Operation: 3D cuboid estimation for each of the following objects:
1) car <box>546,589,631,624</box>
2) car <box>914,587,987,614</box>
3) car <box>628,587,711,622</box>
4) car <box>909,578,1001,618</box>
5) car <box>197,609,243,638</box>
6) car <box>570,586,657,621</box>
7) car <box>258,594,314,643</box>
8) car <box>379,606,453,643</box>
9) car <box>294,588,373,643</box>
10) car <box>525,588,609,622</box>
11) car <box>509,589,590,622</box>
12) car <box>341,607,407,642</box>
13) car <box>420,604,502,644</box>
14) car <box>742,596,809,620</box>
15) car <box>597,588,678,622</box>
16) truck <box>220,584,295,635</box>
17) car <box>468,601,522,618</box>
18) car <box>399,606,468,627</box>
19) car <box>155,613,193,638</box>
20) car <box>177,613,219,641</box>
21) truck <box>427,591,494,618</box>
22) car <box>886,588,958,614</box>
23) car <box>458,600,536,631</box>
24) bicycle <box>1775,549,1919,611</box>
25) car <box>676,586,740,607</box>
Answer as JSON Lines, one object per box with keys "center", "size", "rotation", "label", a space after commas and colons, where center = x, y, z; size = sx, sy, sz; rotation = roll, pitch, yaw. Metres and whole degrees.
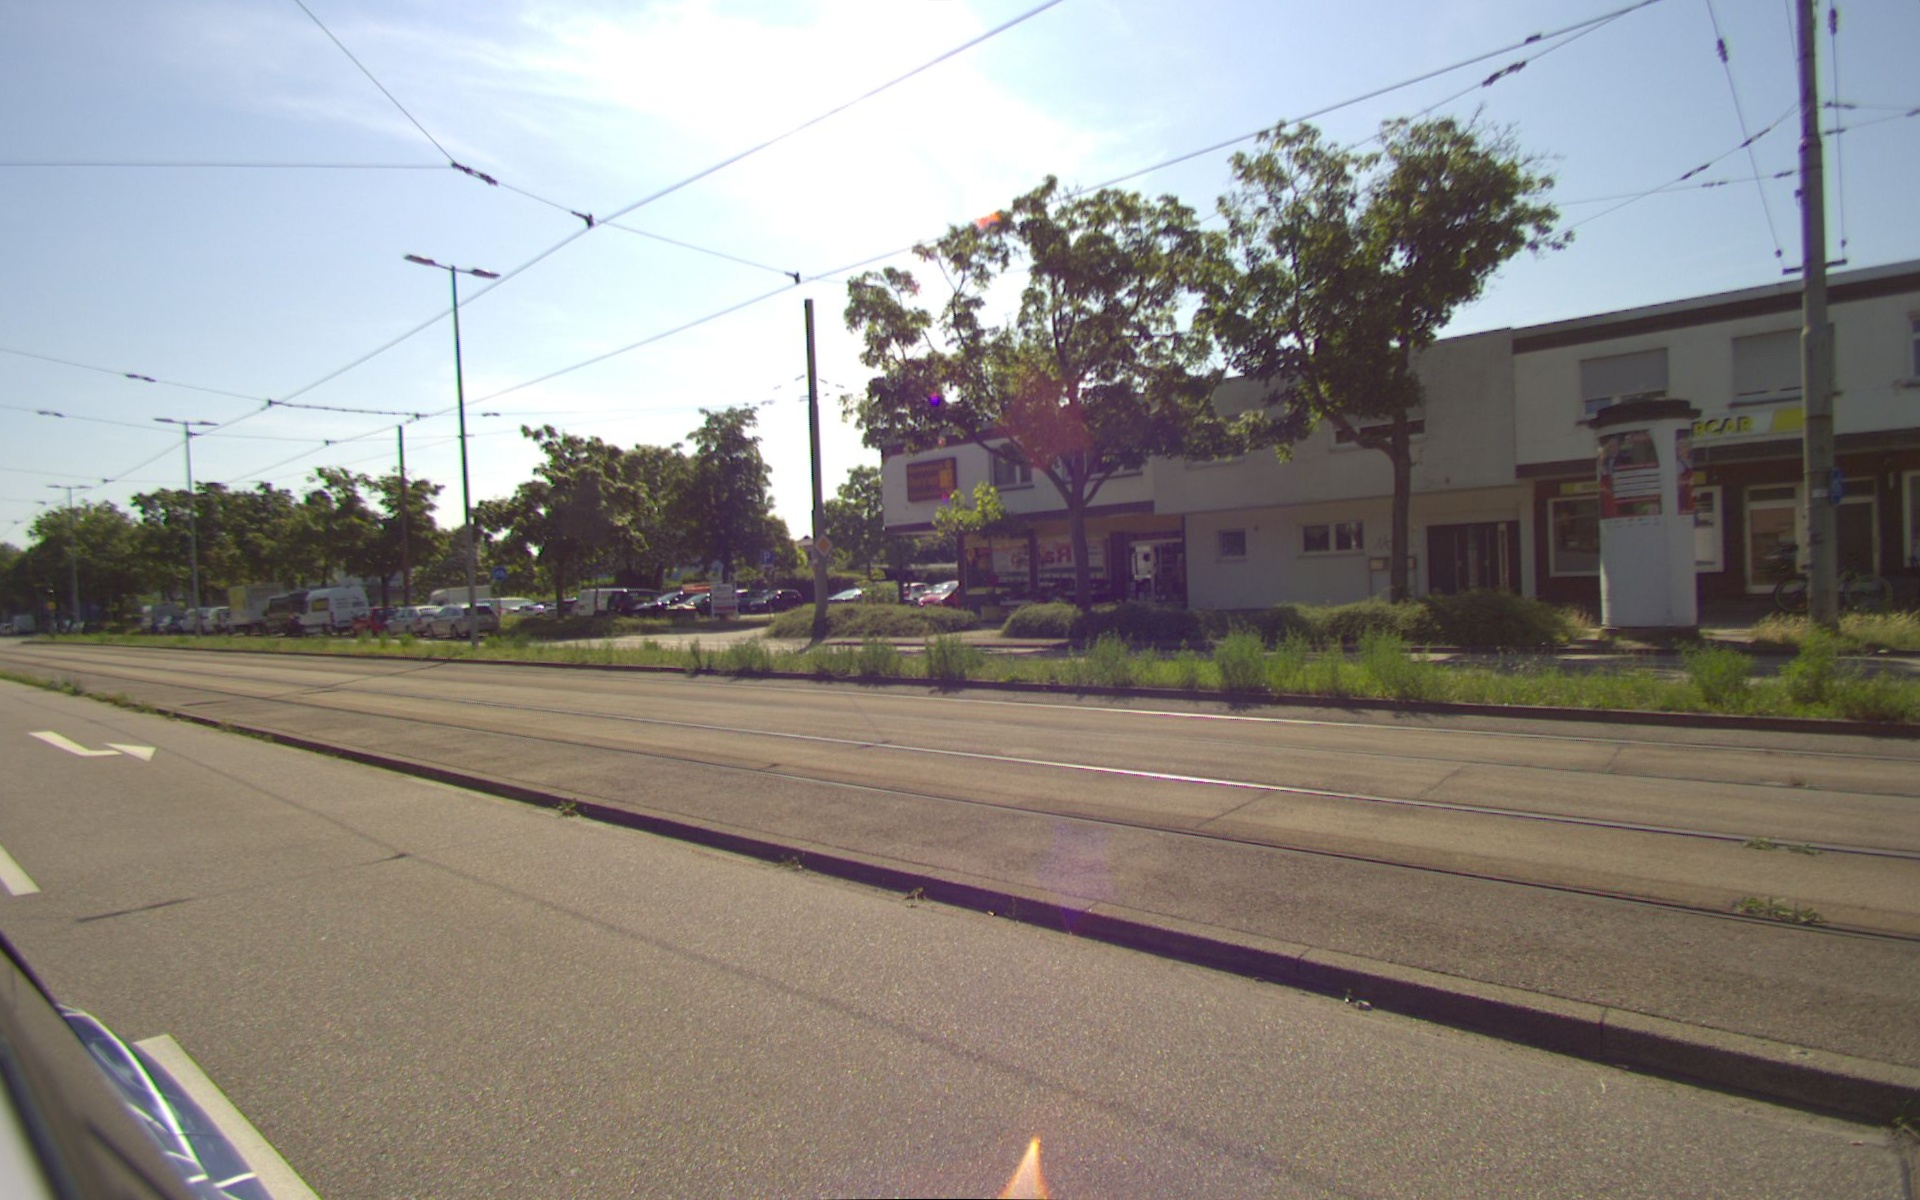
{"center": [-20.887, 0.341, 57.005], "size": [1.988, 1.751, 4.068], "rotation": [-2, 1, 38], "label": "car"}
{"center": [-0.497, 0.014, 56.741], "size": [1.676, 1.345, 4.197], "rotation": [-2, 1, 43], "label": "car"}
{"center": [-14.821, 0.215, 51.759], "size": [1.676, 1.646, 3.761], "rotation": [-2, 1, 43], "label": "car"}
{"center": [-0.159, -0.104, 45.283], "size": [1.676, 1.616, 4.197], "rotation": [-2, 1, 43], "label": "car"}
{"center": [-51.532, 1.650, 70.476], "size": [4.631, 1.817, 1.483], "rotation": [-2, 4, 42], "label": "car"}
{"center": [-18.941, 0.163, 55.487], "size": [1.988, 1.751, 4.068], "rotation": [-2, 1, 38], "label": "car"}
{"center": [-39.112, 1.084, 58.695], "size": [4.005, 2.643, 1.483], "rotation": [-2, 3, 41], "label": "car"}
{"center": [-25.928, 1.150, 48.195], "size": [4.255, 1.544, 1.654], "rotation": [-2, 4, 41], "label": "car"}
{"center": [-34.003, 0.857, 54.852], "size": [5.201, 2.673, 2.036], "rotation": [-2, 4, 41], "label": "car"}
{"center": [-22.754, 0.270, 58.681], "size": [1.988, 1.751, 4.068], "rotation": [-2, 1, 38], "label": "car"}
{"center": [-24.869, 0.320, 61.342], "size": [1.988, 1.751, 4.068], "rotation": [-2, 1, 38], "label": "car"}
{"center": [-29.851, 1.252, 51.518], "size": [3.791, 1.544, 1.654], "rotation": [-2, 4, 41], "label": "car"}
{"center": [-22.003, 1.055, 44.570], "size": [4.255, 1.544, 1.654], "rotation": [-2, 4, 41], "label": "car"}
{"center": [-12.128, 0.517, 66.646], "size": [1.676, 1.345, 4.197], "rotation": [-2, 1, 43], "label": "car"}
{"center": [-17.114, 0.265, 53.825], "size": [1.676, 1.646, 3.761], "rotation": [-2, 1, 43], "label": "car"}
{"center": [-45.018, 0.641, 64.802], "size": [5.902, 2.955, 2.476], "rotation": [-2, 4, 42], "label": "truck"}
{"center": [-42.701, 0.869, 92.979], "size": [1.676, 1.345, 4.198], "rotation": [-2, 1, 42], "label": "car"}
{"center": [-38.883, 1.201, 74.797], "size": [1.676, 1.345, 4.198], "rotation": [-2, 1, 42], "label": "car"}
{"center": [-61.212, 1.975, 78.760], "size": [3.685, 1.799, 1.484], "rotation": [-2, 3, 40], "label": "car"}
{"center": [-56.640, 2.000, 75.180], "size": [4.056, 1.859, 1.484], "rotation": [-2, 3, 40], "label": "car"}
{"center": [-49.534, 0.414, 100.448], "size": [1.988, 2.398, 5.584], "rotation": [-2, 1, 38], "label": "truck"}
{"center": [-2.189, 0.062, 59.175], "size": [1.676, 1.345, 4.197], "rotation": [-2, 1, 43], "label": "car"}
{"center": [-30.129, 1.008, 65.769], "size": [5.739, 1.824, 2.560], "rotation": [-2, 1, 42], "label": "car"}
{"center": [17.780, -0.381, 20.174], "size": [2.333, 1.161, 0.779], "rotation": [-2, -1, 42], "label": "bicycle"}
{"center": [-17.923, -0.246, 72.037], "size": [1.674, 1.345, 4.201], "rotation": [-2, 1, 39], "label": "car"}
